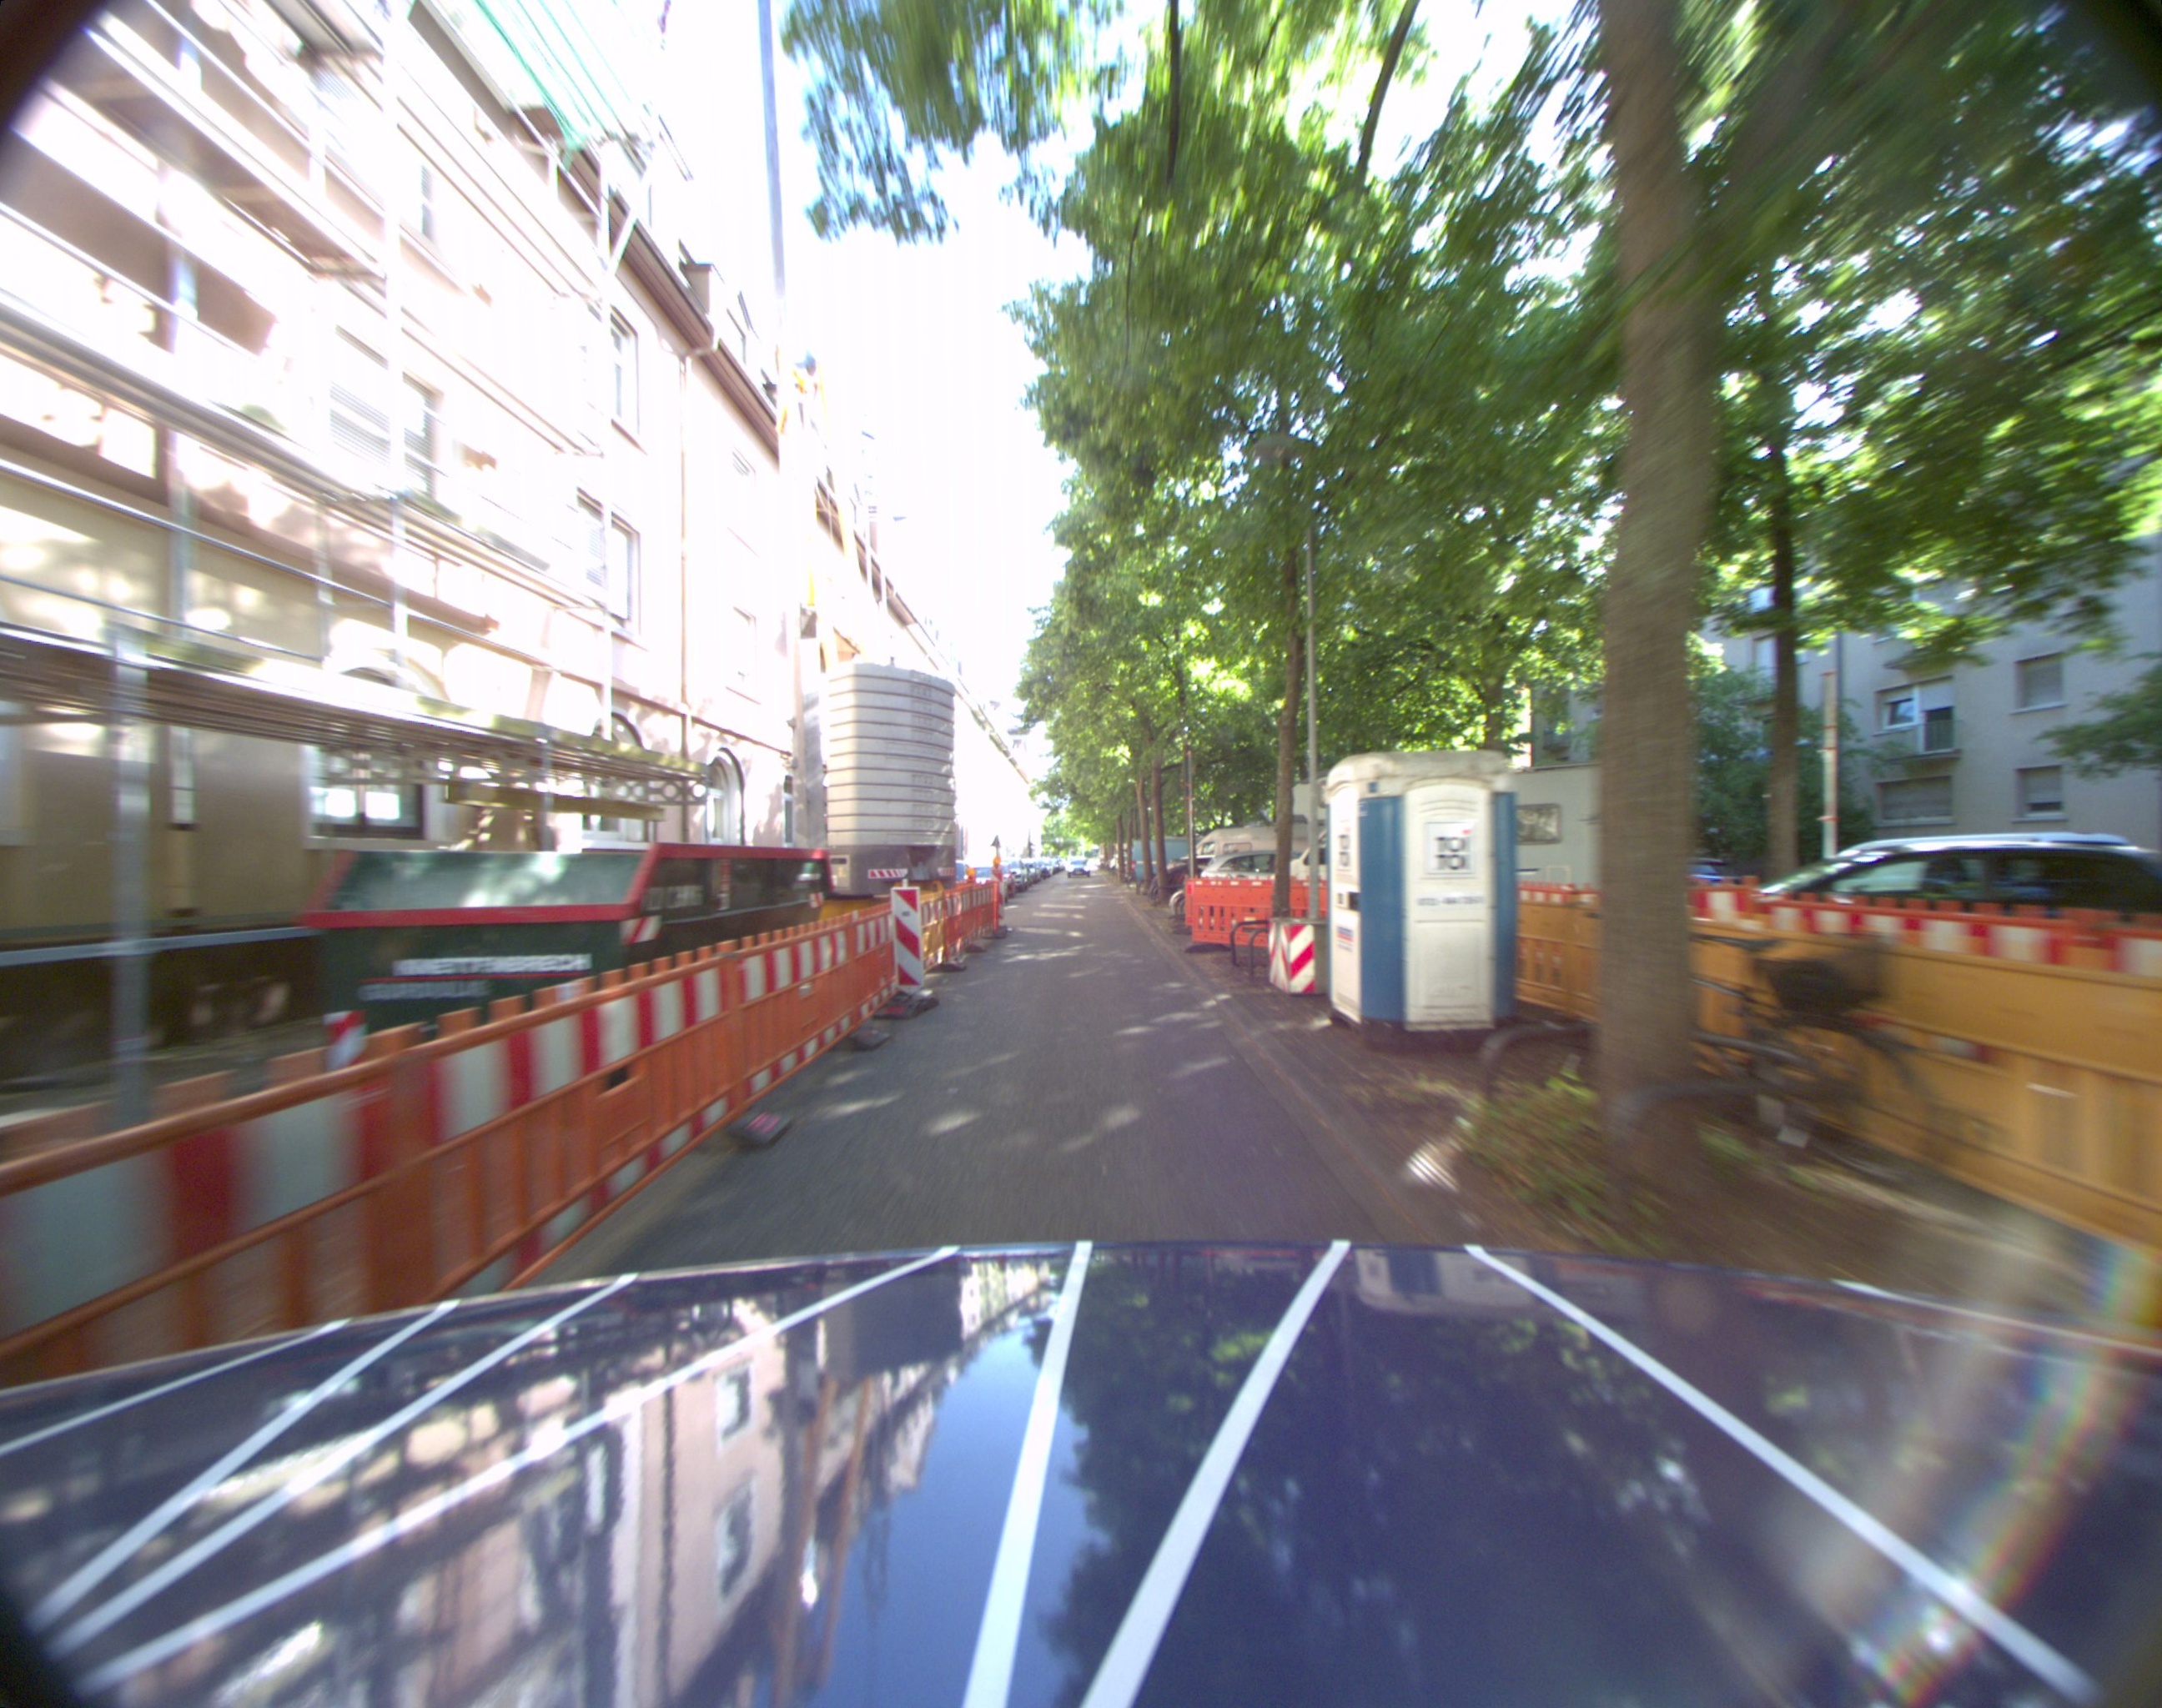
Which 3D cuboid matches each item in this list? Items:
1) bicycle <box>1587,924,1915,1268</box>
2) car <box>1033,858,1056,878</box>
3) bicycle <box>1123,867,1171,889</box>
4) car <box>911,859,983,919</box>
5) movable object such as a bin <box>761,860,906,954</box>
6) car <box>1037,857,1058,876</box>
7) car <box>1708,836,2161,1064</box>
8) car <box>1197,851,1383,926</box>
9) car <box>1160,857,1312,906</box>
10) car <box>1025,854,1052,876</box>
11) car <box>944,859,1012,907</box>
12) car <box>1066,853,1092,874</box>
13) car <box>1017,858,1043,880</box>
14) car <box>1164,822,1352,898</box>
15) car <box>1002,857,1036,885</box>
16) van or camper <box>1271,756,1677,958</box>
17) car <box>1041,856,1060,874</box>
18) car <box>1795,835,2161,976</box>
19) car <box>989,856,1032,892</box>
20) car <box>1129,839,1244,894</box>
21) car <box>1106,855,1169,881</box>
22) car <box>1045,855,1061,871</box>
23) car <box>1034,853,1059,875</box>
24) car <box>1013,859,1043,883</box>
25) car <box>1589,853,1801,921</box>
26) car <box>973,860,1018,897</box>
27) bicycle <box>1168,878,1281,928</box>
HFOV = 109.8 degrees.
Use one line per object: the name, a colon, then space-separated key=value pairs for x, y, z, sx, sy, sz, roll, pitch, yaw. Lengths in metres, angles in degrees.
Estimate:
bicycle: x=3.030 y=0.982 z=3.628 sx=0.281 sy=1.149 sz=1.552 roll=-2 pitch=0 yaw=5
car: x=-3.222 y=1.215 z=68.078 sx=1.863 sy=1.772 sz=4.000 roll=0 pitch=0 yaw=0
bicycle: x=3.023 y=1.083 z=34.814 sx=2.149 sy=0.964 sz=0.609 roll=0 pitch=0 yaw=7
car: x=-3.660 y=0.918 z=21.163 sx=1.490 sy=1.548 sz=2.969 roll=0 pitch=0 yaw=-1
movable object such as a bin: x=-4.378 y=0.862 z=13.478 sx=1.872 sy=1.518 sz=1.631 roll=0 pitch=0 yaw=35
car: x=-3.220 y=1.161 z=74.198 sx=1.863 sy=1.772 sz=4.000 roll=0 pitch=0 yaw=0
car: x=7.633 y=0.720 z=6.777 sx=2.984 sy=1.707 sz=1.425 roll=0 pitch=0 yaw=32
car: x=4.954 y=0.751 z=18.019 sx=3.990 sy=1.607 sz=1.800 roll=0 pitch=0 yaw=26
car: x=4.992 y=0.825 z=24.635 sx=4.512 sy=1.474 sz=1.741 roll=0 pitch=0 yaw=30
car: x=-3.163 y=0.803 z=57.141 sx=1.863 sy=1.584 sz=4.000 roll=0 pitch=0 yaw=0
car: x=-3.386 y=0.919 z=25.793 sx=1.765 sy=1.455 sz=4.244 roll=0 pitch=0 yaw=0
car: x=-0.111 y=0.760 z=60.819 sx=1.792 sy=1.510 sz=4.001 roll=-3 pitch=0 yaw=3
car: x=-3.490 y=1.022 z=52.101 sx=1.577 sy=1.446 sz=3.402 roll=0 pitch=0 yaw=-1
car: x=6.262 y=0.212 z=27.163 sx=6.186 sy=2.497 sz=2.143 roll=0 pitch=0 yaw=28
car: x=-3.396 y=0.915 z=42.162 sx=1.671 sy=1.503 sz=3.606 roll=0 pitch=0 yaw=-1
van or camper: x=6.752 y=0.056 z=13.728 sx=6.017 sy=2.984 sz=2.404 roll=0 pitch=0 yaw=29
car: x=-3.187 y=1.112 z=79.633 sx=1.863 sy=1.772 sz=4.000 roll=0 pitch=0 yaw=0
car: x=15.064 y=0.737 z=13.065 sx=1.625 sy=2.002 sz=4.267 roll=-2 pitch=0 yaw=2
car: x=-3.330 y=0.904 z=36.466 sx=1.671 sy=1.590 sz=4.273 roll=0 pitch=0 yaw=-1
car: x=4.350 y=0.496 z=31.561 sx=4.386 sy=2.155 sz=1.774 roll=0 pitch=0 yaw=28
car: x=3.326 y=0.833 z=44.864 sx=3.265 sy=1.408 sz=1.751 roll=-1 pitch=1 yaw=32
car: x=-3.289 y=1.025 z=89.822 sx=1.863 sy=1.772 sz=4.000 roll=0 pitch=0 yaw=0
car: x=-2.809 y=0.781 z=62.093 sx=1.863 sy=1.772 sz=4.000 roll=0 pitch=0 yaw=0
car: x=-3.240 y=1.020 z=46.906 sx=1.577 sy=1.428 sz=3.606 roll=0 pitch=0 yaw=-1
car: x=14.762 y=0.731 z=18.609 sx=1.998 sy=1.477 sz=4.000 roll=0 pitch=0 yaw=1
car: x=-3.495 y=0.969 z=31.552 sx=1.671 sy=1.419 sz=3.971 roll=0 pitch=0 yaw=-4
bicycle: x=3.168 y=1.088 z=16.824 sx=2.379 sy=0.972 sz=0.502 roll=-3 pitch=1 yaw=10
